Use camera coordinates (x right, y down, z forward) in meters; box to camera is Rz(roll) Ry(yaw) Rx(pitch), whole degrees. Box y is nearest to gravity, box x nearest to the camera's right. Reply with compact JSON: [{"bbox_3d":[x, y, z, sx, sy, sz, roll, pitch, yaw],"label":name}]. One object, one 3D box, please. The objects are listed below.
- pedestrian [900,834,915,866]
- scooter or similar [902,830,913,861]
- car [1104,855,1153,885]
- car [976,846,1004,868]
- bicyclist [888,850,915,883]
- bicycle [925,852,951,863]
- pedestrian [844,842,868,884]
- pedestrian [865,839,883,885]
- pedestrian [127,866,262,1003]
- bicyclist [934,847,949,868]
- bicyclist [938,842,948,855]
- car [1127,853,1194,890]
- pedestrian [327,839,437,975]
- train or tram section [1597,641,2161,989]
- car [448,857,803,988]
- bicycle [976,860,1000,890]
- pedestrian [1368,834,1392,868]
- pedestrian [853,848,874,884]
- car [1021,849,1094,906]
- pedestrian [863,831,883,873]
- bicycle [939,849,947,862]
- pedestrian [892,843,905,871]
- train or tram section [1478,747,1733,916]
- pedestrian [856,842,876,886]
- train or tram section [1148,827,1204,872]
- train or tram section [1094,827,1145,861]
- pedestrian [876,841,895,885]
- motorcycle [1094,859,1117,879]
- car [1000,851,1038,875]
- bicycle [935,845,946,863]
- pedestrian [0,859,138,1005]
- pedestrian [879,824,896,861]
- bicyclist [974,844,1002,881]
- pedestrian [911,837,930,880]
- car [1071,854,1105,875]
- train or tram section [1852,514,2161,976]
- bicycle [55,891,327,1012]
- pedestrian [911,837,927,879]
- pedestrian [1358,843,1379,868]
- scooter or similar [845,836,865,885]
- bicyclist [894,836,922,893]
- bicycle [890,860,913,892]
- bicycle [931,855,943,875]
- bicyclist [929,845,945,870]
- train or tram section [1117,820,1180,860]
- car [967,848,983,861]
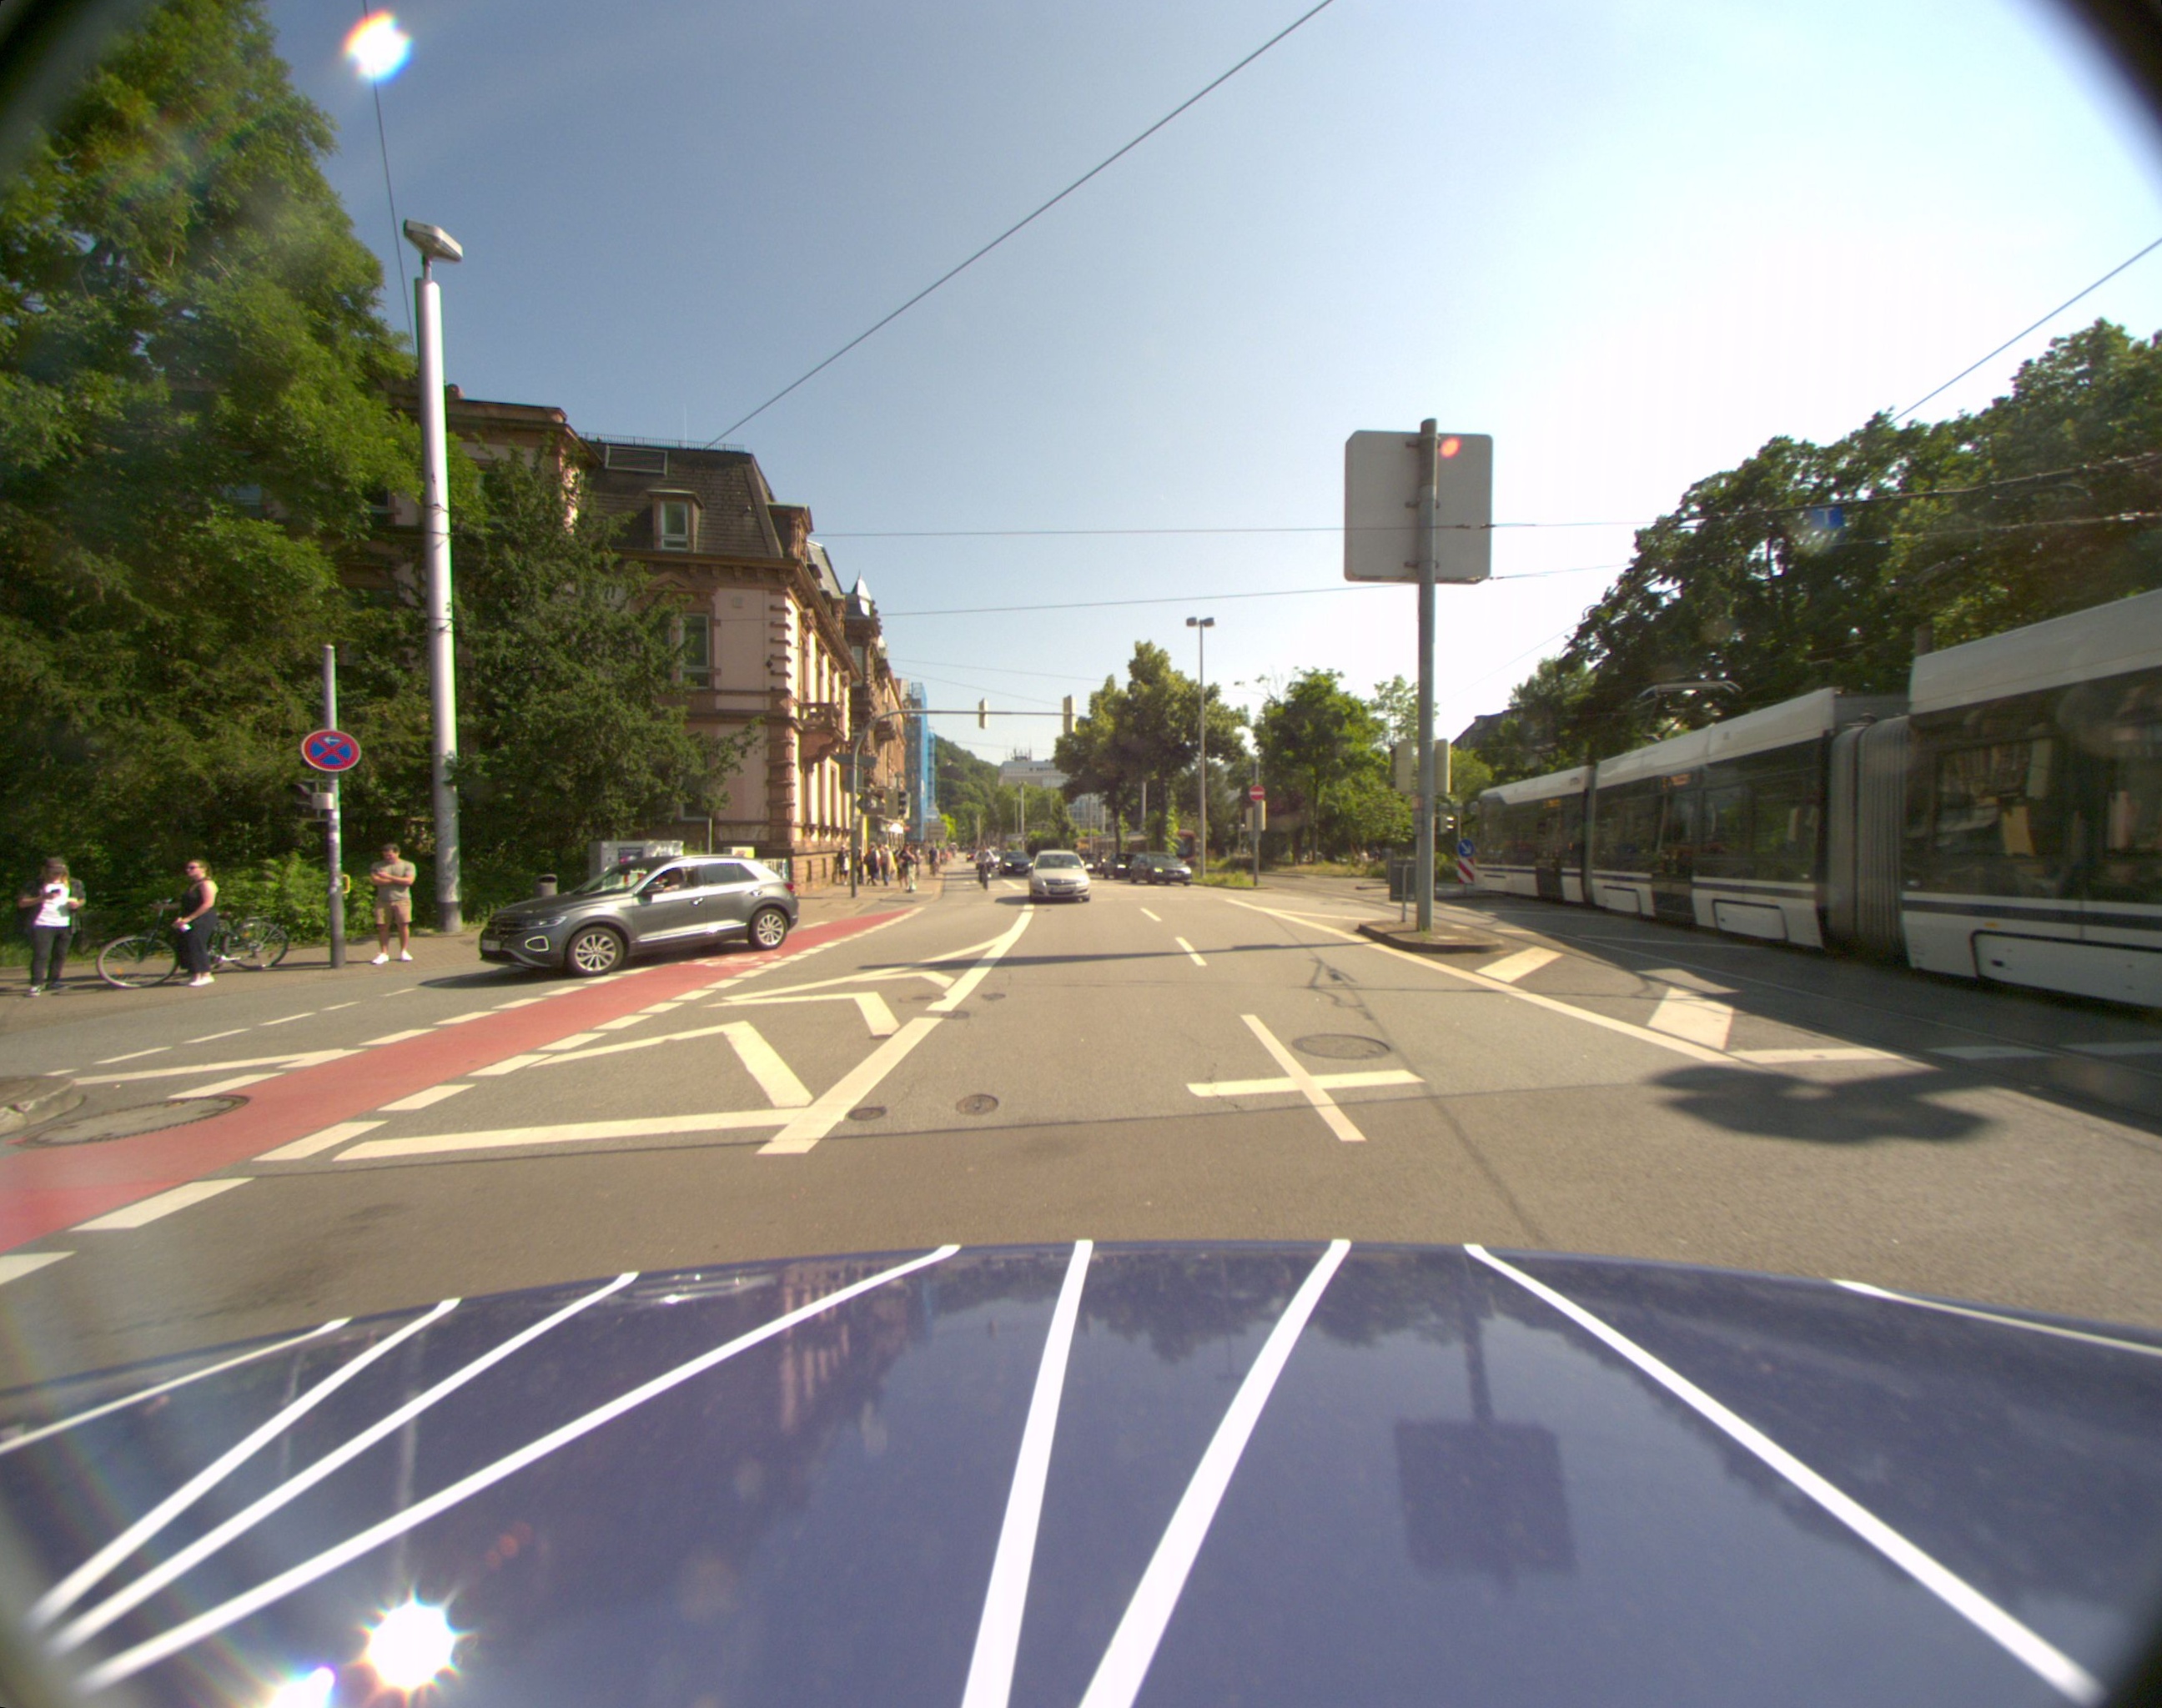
[{"bbox_3d":[-11.053,-0.242,48.459,0.814,2.002,0.814,2,1,-11],"label":"pedestrian"},{"bbox_3d":[-11.150,-0.551,48.841,0.694,2.002,1.094,0,1,-11],"label":"scooter or similar"},{"bbox_3d":[2.432,0.799,39.866,1.799,1.403,3.996,0,1,-9],"label":"car"},{"bbox_3d":[-7.021,0.203,58.644,2.000,1.565,3.997,-2,1,-8],"label":"car"},{"bbox_3d":[-6.753,0.461,28.636,0.924,1.212,0.971,0,1,-11],"label":"bicyclist"},{"bbox_3d":[-14.386,0.350,76.559,2.496,1.077,0.643,0,1,-6],"label":"bicycle"},{"bbox_3d":[-9.608,0.378,32.456,0.814,1.783,0.814,2,1,-11],"label":"pedestrian"},{"bbox_3d":[-8.651,0.335,31.736,0.637,1.880,0.902,-1,1,-11],"label":"pedestrian"},{"bbox_3d":[-11.923,1.048,10.262,0.676,1.701,0.891,0,4,-9],"label":"pedestrian"},{"bbox_3d":[-8.464,0.207,46.043,0.913,1.227,1.231,0,1,-11],"label":"bicyclist"},{"bbox_3d":[-11.815,-0.458,65.033,0.913,1.077,1.231,0,1,-11],"label":"bicyclist"},{"bbox_3d":[3.475,0.718,34.040,1.754,1.477,4.743,1,1,-9],"label":"car"},{"bbox_3d":[-10.728,0.774,11.712,0.777,2.002,1.058,0,1,-10],"label":"pedestrian"},{"bbox_3d":[11.893,-0.445,12.945,2.540,3.755,9.181,0,0,17],"label":"train or tram section"},{"bbox_3d":[-6.414,0.824,11.155,1.930,1.507,4.001,-1,0,33],"label":"car"},{"bbox_3d":[-3.605,0.786,29.233,0.644,1.077,2.493,0,1,-13],"label":"bicycle"},{"bbox_3d":[19.607,-0.187,49.833,1.126,2.138,0.802,-4,1,-3],"label":"pedestrian"},{"bbox_3d":[-9.744,0.534,34.053,0.814,1.593,0.814,2,1,-11],"label":"pedestrian"},{"bbox_3d":[-0.807,0.620,22.972,1.803,1.492,4.494,-1,1,-7],"label":"car"},{"bbox_3d":[-10.222,-0.103,37.329,0.814,2.002,0.814,2,1,-11],"label":"pedestrian"},{"bbox_3d":[-11.835,0.092,65.034,0.644,1.077,2.493,0,1,-11],"label":"bicycle"},{"bbox_3d":[-11.169,0.190,46.502,0.707,1.685,0.628,0,2,-7],"label":"pedestrian"},{"bbox_3d":[14.130,-0.547,21.639,2.541,3.755,9.176,0,1,11],"label":"train or tram section"},{"bbox_3d":[-8.691,0.375,30.724,0.708,1.743,0.902,0,2,-12],"label":"pedestrian"},{"bbox_3d":[7.491,-0.381,60.856,2.769,3.384,5.880,0,1,-11],"label":"train or tram section"},{"bbox_3d":[3.941,-1.076,82.108,2.769,3.384,12.398,0,1,-10],"label":"train or tram section"},{"bbox_3d":[-7.969,0.363,30.952,0.708,1.759,0.902,0,1,-12],"label":"pedestrian"},{"bbox_3d":[1.482,0.916,46.983,0.903,1.156,2.350,-2,1,-11],"label":"motorcycle"},{"bbox_3d":[-3.724,0.484,44.907,1.896,1.323,3.996,-2,1,-9],"label":"car"},{"bbox_3d":[-8.514,-0.034,46.057,0.644,1.077,2.493,0,1,-11],"label":"bicycle"},{"bbox_3d":[-13.397,0.983,9.897,1.060,1.772,0.700,-1,5,-17],"label":"pedestrian"},{"bbox_3d":[-10.732,-0.615,42.221,0.814,2.002,0.814,2,1,-11],"label":"pedestrian"},{"bbox_3d":[-3.595,0.301,29.241,0.913,1.385,1.231,0,1,-14],"label":"bicyclist"},{"bbox_3d":[-7.699,0.214,36.498,0.814,2.002,0.814,2,1,-11],"label":"pedestrian"},{"bbox_3d":[0.439,0.700,52.019,1.638,1.301,3.910,0,1,-11],"label":"car"},{"bbox_3d":[9.389,-0.854,4.031,2.407,3.660,9.627,0,0,11],"label":"train or tram section"},{"bbox_3d":[-12.155,1.259,10.542,0.801,1.199,2.275,2,5,12],"label":"bicycle"},{"bbox_3d":[-7.948,0.178,37.273,0.662,2.002,0.699,2,1,-11],"label":"pedestrian"},{"bbox_3d":[19.187,0.105,50.727,1.039,1.610,0.934,0,1,-3],"label":"pedestrian"},{"bbox_3d":[-9.409,0.269,31.659,0.694,2.002,1.094,0,1,-11],"label":"scooter or similar"},{"bbox_3d":[-6.200,0.381,27.220,0.945,2.002,0.829,0,1,-11],"label":"bicyclist"},{"bbox_3d":[-6.743,0.800,28.626,0.781,1.096,2.136,1,1,-11],"label":"bicycle"},{"bbox_3d":[-8.114,0.613,42.835,0.644,1.077,2.493,0,1,-11],"label":"bicycle"},{"bbox_3d":[-8.093,0.190,42.713,0.913,1.428,1.231,0,1,-11],"label":"bicyclist"},{"bbox_3d":[5.963,-1.232,69.798,2.769,3.384,12.399,0,1,-9],"label":"train or tram section"},{"bbox_3d":[-13.494,0.052,96.698,2.000,1.565,3.997,-2,1,-8],"label":"car"}]
